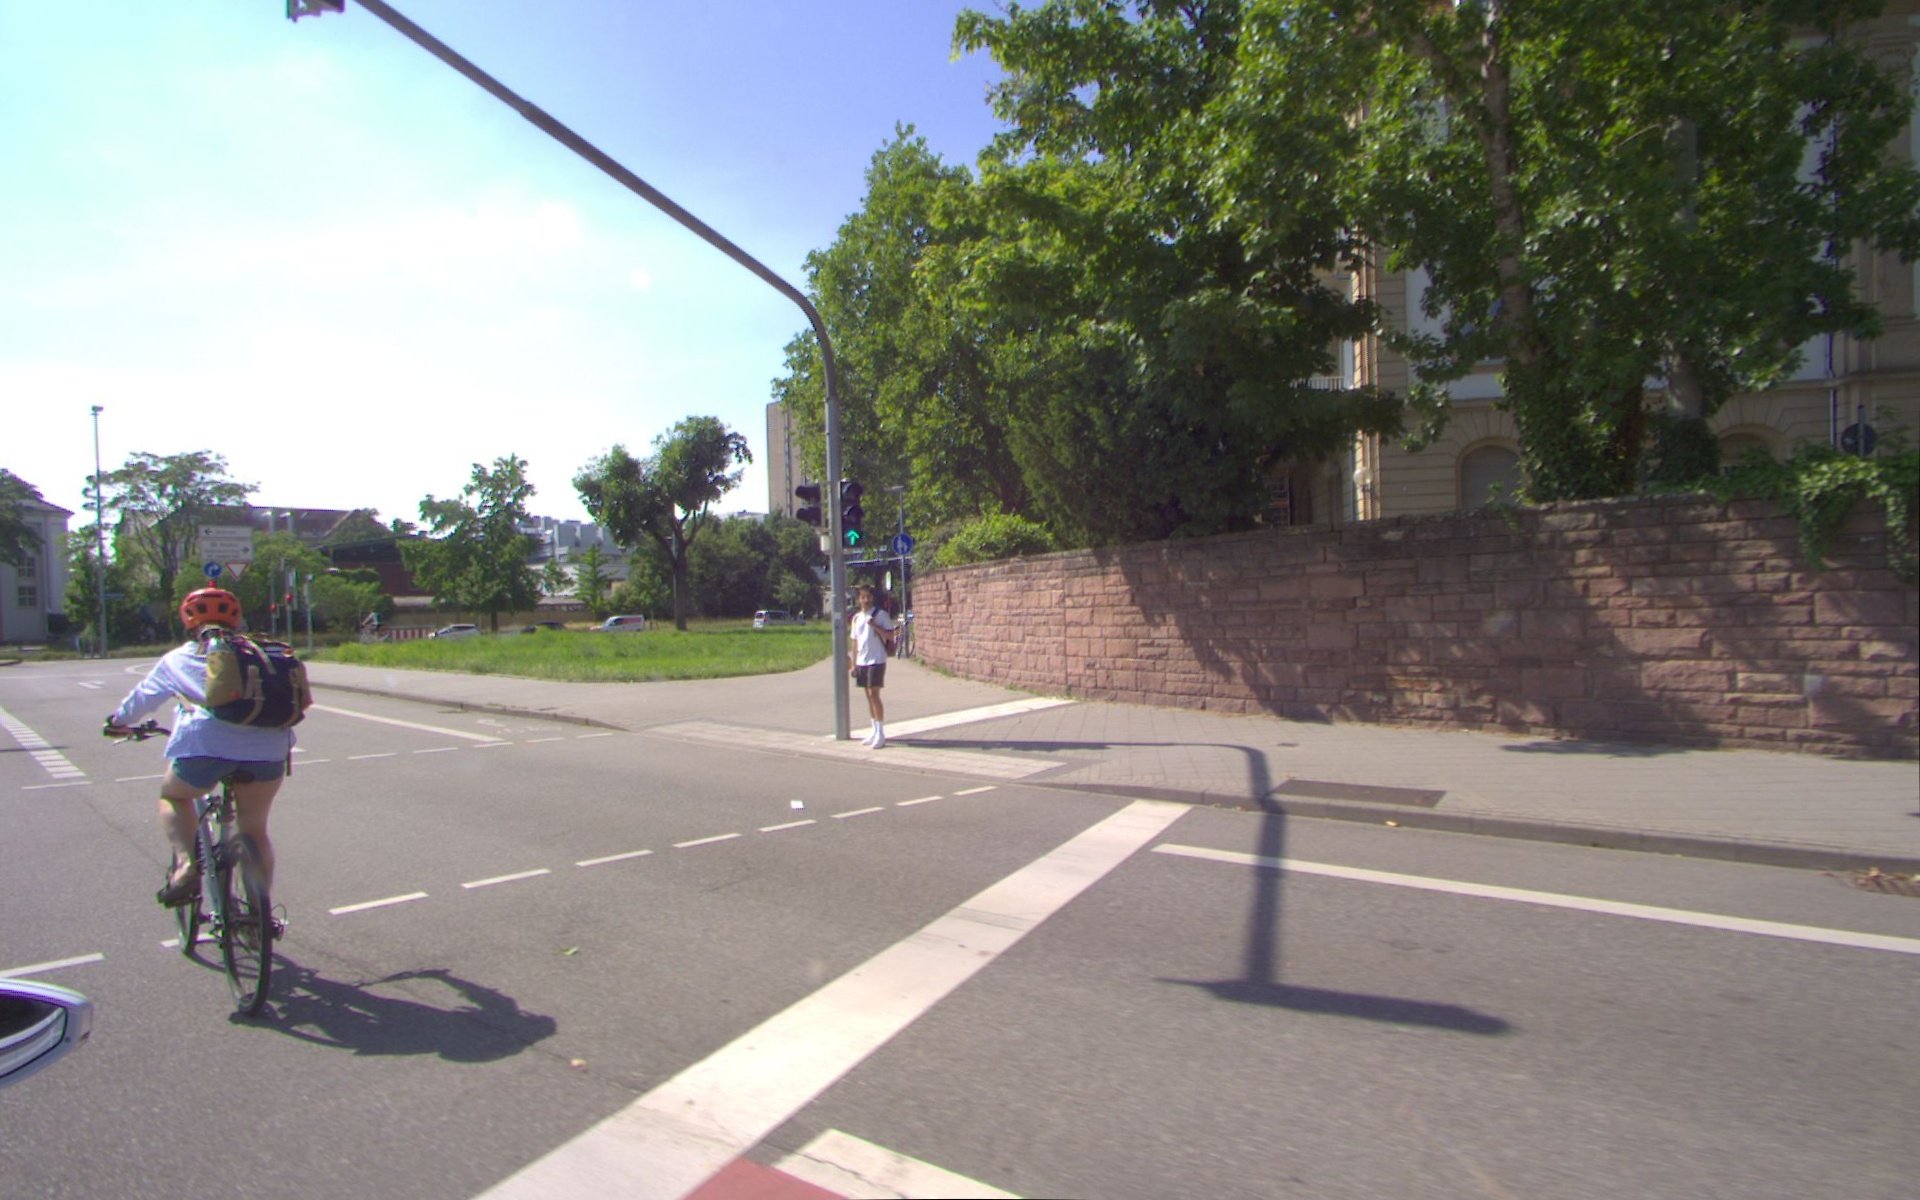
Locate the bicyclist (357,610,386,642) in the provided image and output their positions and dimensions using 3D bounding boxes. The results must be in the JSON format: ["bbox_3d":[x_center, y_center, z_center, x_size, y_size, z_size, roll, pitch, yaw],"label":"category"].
[{"bbox_3d":[-28.186,1.244,47.954,1.120,1.489,0.496,-1,-1,1],"label":"bicyclist"}]

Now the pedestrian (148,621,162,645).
[{"bbox_3d":[-66.894,2.731,83.199,0.786,1.900,0.634,-3,3,-35],"label":"pedestrian"}]

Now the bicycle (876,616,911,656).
[{"bbox_3d":[-1.935,1.023,28.939,0.344,1.138,1.426,-2,1,-32],"label":"bicycle"}]

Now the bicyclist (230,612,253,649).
[{"bbox_3d":[-33.019,1.398,46.008,0.909,1.677,0.674,-1,1,44],"label":"bicyclist"}]

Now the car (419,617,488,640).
[{"bbox_3d":[-36.275,2.030,71.807,1.979,1.483,3.964,-3,-1,43],"label":"car"}]

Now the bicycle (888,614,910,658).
[{"bbox_3d":[-1.672,0.971,27.327,0.343,1.138,1.433,-2,1,-12],"label":"bicycle"}]

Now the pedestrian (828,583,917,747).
[{"bbox_3d":[-1.053,0.766,12.116,0.783,1.900,0.651,-1,2,25],"label":"pedestrian"}]

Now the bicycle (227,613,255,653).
[{"bbox_3d":[-33.029,1.487,46.007,1.792,1.789,0.674,-1,1,44],"label":"bicycle"}]

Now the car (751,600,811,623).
[{"bbox_3d":[-12.727,0.823,71.409,1.734,1.528,3.963,-1,1,43],"label":"car"}]

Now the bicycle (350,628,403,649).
[{"bbox_3d":[-27.945,1.852,48.007,2.126,0.928,0.674,-2,1,1],"label":"bicycle"}]

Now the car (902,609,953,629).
[{"bbox_3d":[-2.609,1.504,81.349,3.958,1.493,1.736,-2,1,-43],"label":"car"}]

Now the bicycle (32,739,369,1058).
[{"bbox_3d":[-3.343,1.158,4.330,2.001,0.943,0.594,-2,-1,36],"label":"bicycle"}]

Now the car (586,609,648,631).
[{"bbox_3d":[-27.496,1.572,80.283,1.890,1.590,4.285,-1,0,43],"label":"car"}]

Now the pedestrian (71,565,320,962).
[{"bbox_3d":[-3.271,0.626,4.275,1.000,1.485,0.581,-1,-1,36],"label":"pedestrian"}]

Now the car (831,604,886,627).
[{"bbox_3d":[-7.704,1.170,75.963,1.734,1.526,3.967,-1,-4,43],"label":"car"}]
